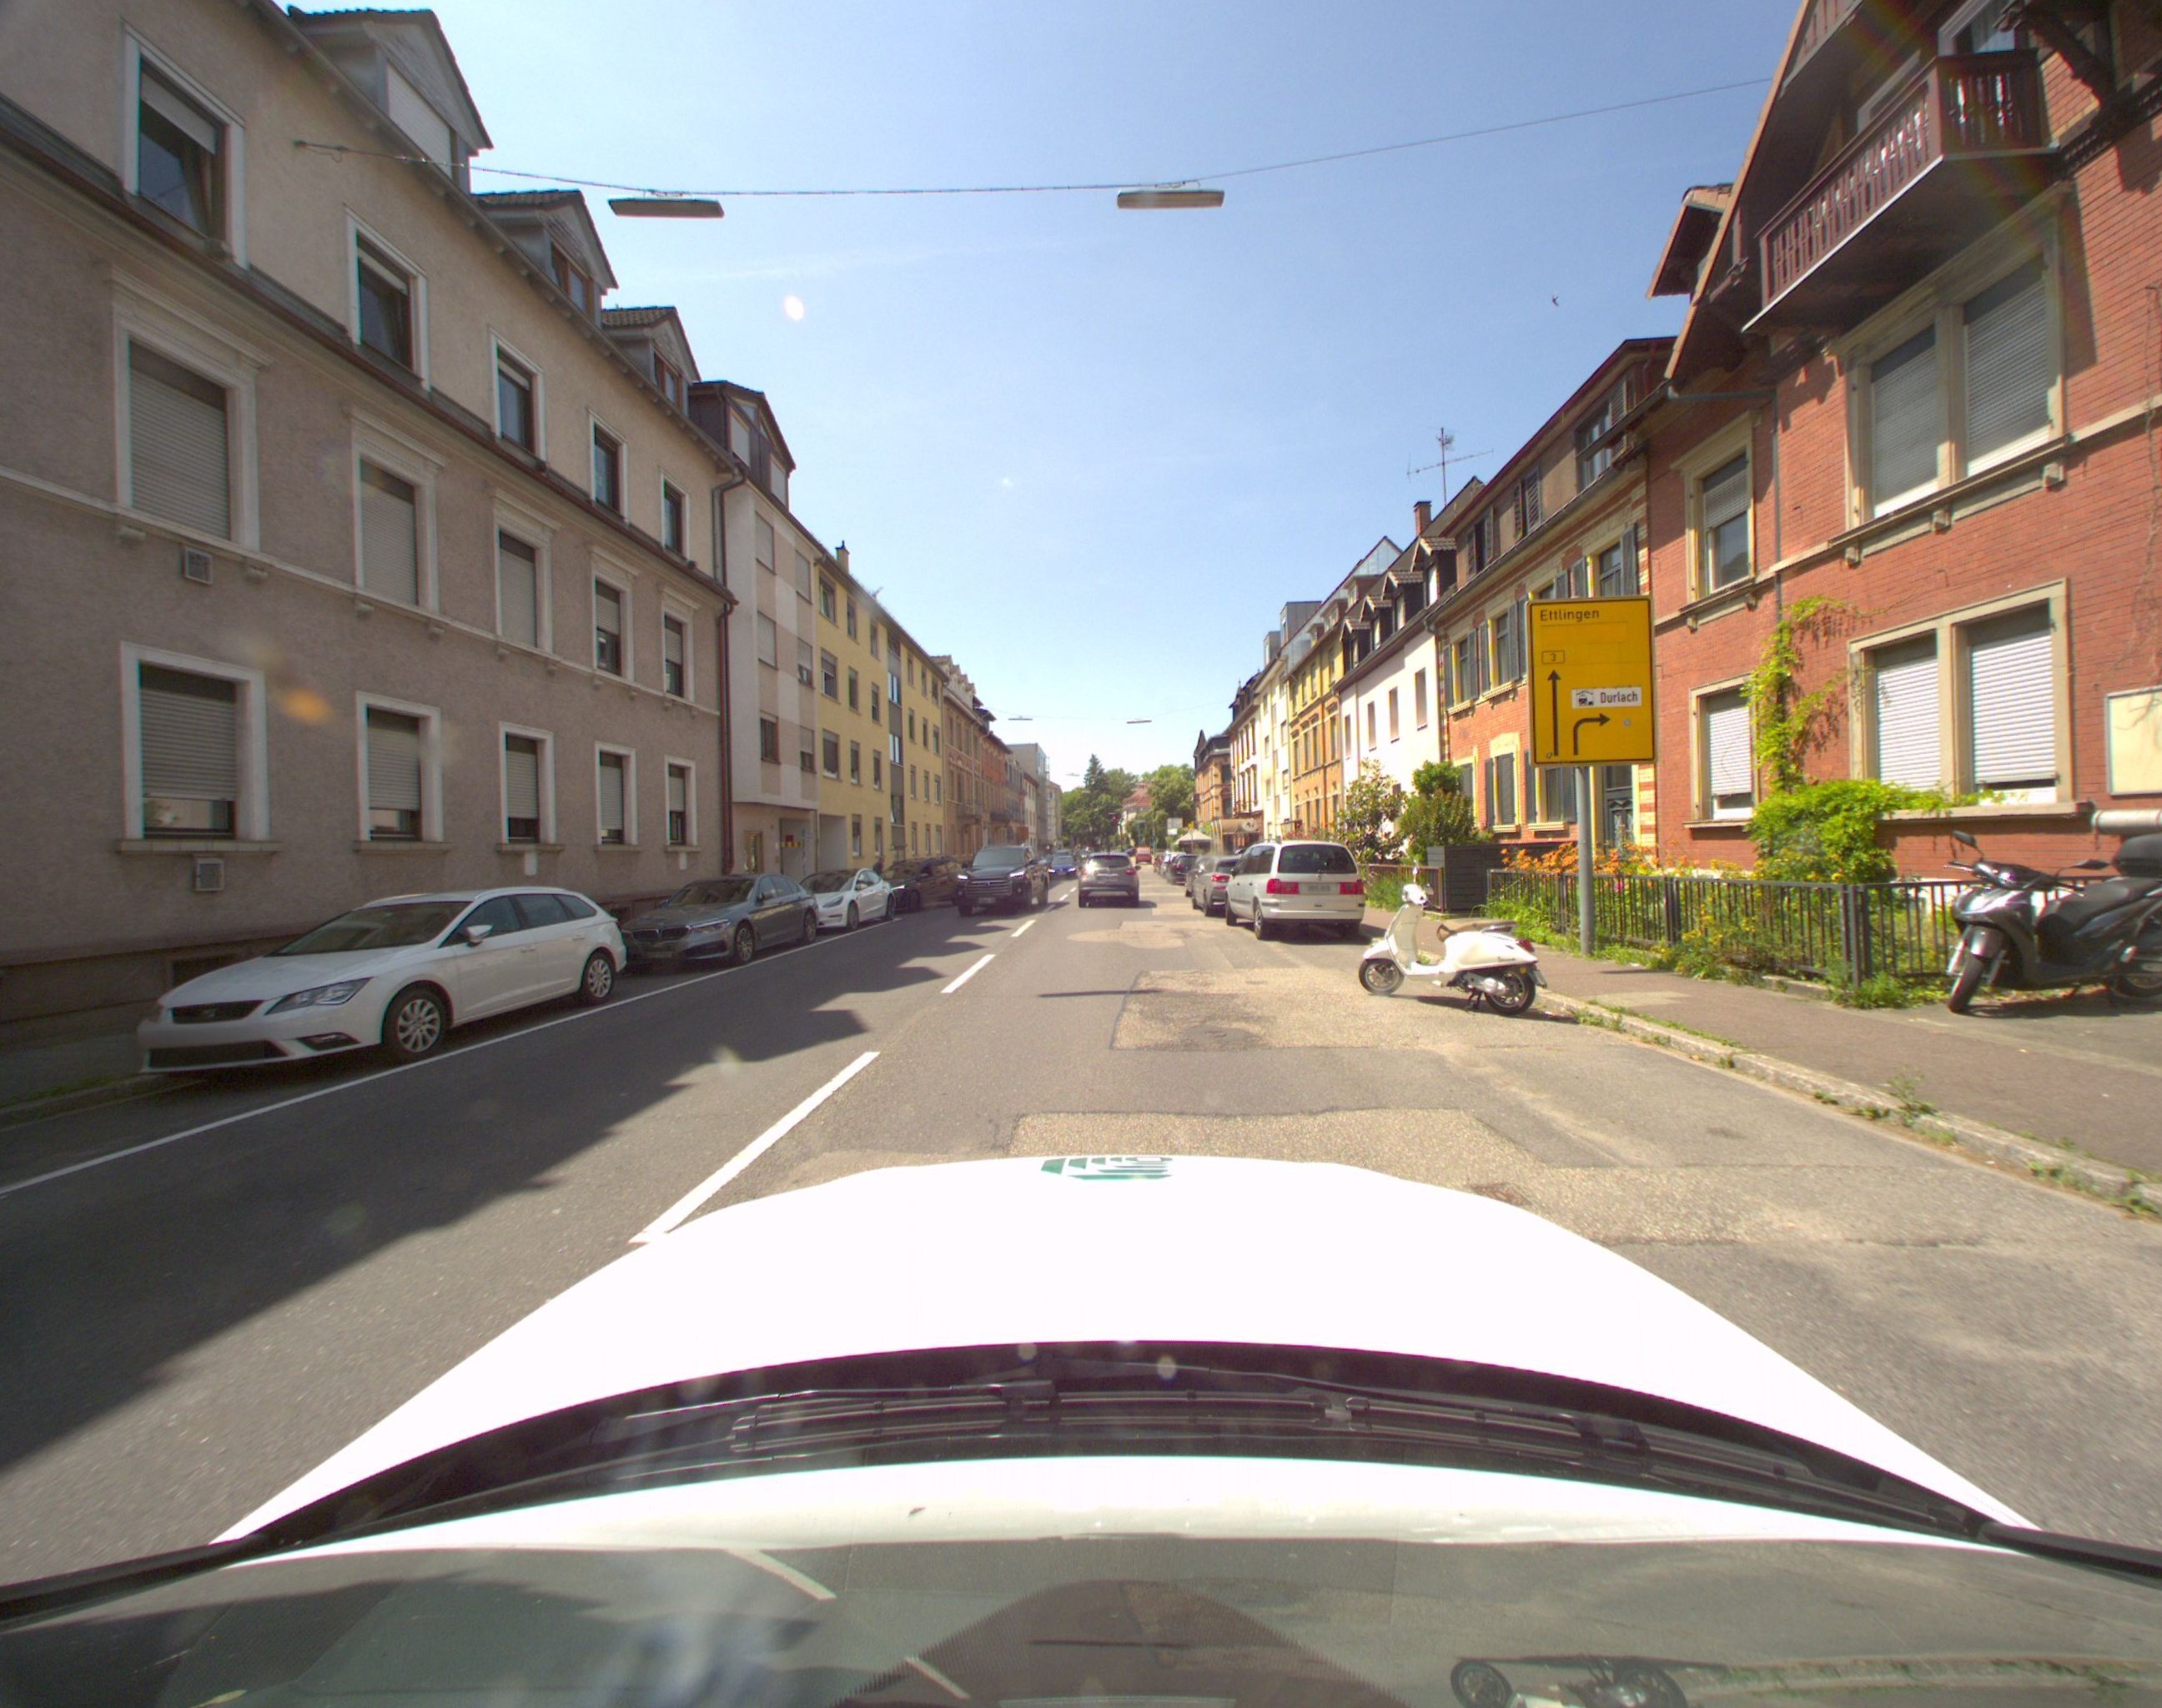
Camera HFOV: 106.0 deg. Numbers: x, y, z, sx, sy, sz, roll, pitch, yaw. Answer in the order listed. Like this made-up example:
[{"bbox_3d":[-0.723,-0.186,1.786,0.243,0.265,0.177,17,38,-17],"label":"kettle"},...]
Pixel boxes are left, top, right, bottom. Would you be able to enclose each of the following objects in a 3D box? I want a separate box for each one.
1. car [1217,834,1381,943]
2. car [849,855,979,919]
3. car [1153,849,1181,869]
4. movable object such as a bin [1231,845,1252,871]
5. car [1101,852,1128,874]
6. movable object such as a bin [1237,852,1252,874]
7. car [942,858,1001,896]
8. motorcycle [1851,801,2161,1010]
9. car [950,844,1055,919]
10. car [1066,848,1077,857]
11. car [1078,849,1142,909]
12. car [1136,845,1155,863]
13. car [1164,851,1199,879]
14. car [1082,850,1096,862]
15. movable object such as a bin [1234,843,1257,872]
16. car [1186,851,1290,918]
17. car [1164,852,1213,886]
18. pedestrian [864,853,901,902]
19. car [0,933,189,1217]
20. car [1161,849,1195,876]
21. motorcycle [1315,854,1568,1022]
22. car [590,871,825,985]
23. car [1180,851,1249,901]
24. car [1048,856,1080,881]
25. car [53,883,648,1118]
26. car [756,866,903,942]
[{"bbox_3d":[3.958,0.545,15.647,1.855,1.747,4.616,-1,0,-1],"label":"car"},{"bbox_3d":[-5.227,0.985,26.273,1.889,1.637,4.581,-5,0,19],"label":"car"},{"bbox_3d":[6.341,0.350,60.371,1.606,1.443,3.436,-2,0,0],"label":"car"},{"bbox_3d":[9.075,0.208,46.152,1.038,1.402,1.256,-1,0,4],"label":"movable object such as a bin"},{"bbox_3d":[2.597,0.680,64.040,1.806,1.620,4.441,-4,0,0],"label":"car"},{"bbox_3d":[8.720,0.482,43.459,0.635,1.177,0.912,-1,0,5],"label":"movable object such as a bin"},{"bbox_3d":[-5.019,1.014,37.760,1.897,1.510,4.304,-5,0,2],"label":"car"},{"bbox_3d":[7.638,0.362,6.436,2.121,1.408,0.938,-4,0,1],"label":"motorcycle"},{"bbox_3d":[-2.088,0.678,23.256,1.984,1.792,5.155,-3,0,5],"label":"car"},{"bbox_3d":[-1.988,-0.309,166.156,1.782,1.626,3.748,-2,1,4],"label":"car"},{"bbox_3d":[0.875,0.689,24.653,1.737,1.616,4.002,-2,0,2],"label":"car"},{"bbox_3d":[7.504,-0.025,94.334,1.983,2.013,4.475,-3,0,7],"label":"car"},{"bbox_3d":[5.621,0.606,45.720,1.653,1.441,4.004,-1,0,3],"label":"car"},{"bbox_3d":[1.092,0.339,113.195,1.932,1.626,4.000,-1,0,1],"label":"car"},{"bbox_3d":[9.048,0.173,44.779,1.038,1.518,1.448,-1,0,4],"label":"movable object such as a bin"},{"bbox_3d":[3.894,0.691,20.877,1.854,1.487,4.310,-1,0,0],"label":"car"},{"bbox_3d":[5.106,0.661,39.095,1.853,1.465,4.620,-1,0,2],"label":"car"},{"bbox_3d":[-7.455,0.885,30.490,0.973,1.750,1.143,-3,0,-31],"label":"pedestrian"},{"bbox_3d":[-6.756,1.313,2.950,1.832,1.422,4.506,-6,0,3],"label":"car"},{"bbox_3d":[5.917,0.493,50.230,1.852,1.553,4.004,-1,0,3],"label":"car"},{"bbox_3d":[3.455,0.731,7.880,1.970,1.385,1.120,-2,0,40],"label":"motorcycle"},{"bbox_3d":[-6.148,1.117,14.138,1.834,1.422,4.645,-5,0,0],"label":"car"},{"bbox_3d":[4.438,0.675,27.650,1.689,1.487,4.620,-1,0,2],"label":"car"},{"bbox_3d":[-1.032,0.849,50.760,1.810,1.388,4.000,-3,0,0],"label":"car"},{"bbox_3d":[-6.533,1.144,8.207,1.834,1.422,4.501,-5,0,0],"label":"car"},{"bbox_3d":[-5.924,1.112,19.860,1.832,1.422,4.561,-5,0,3],"label":"car"}]
